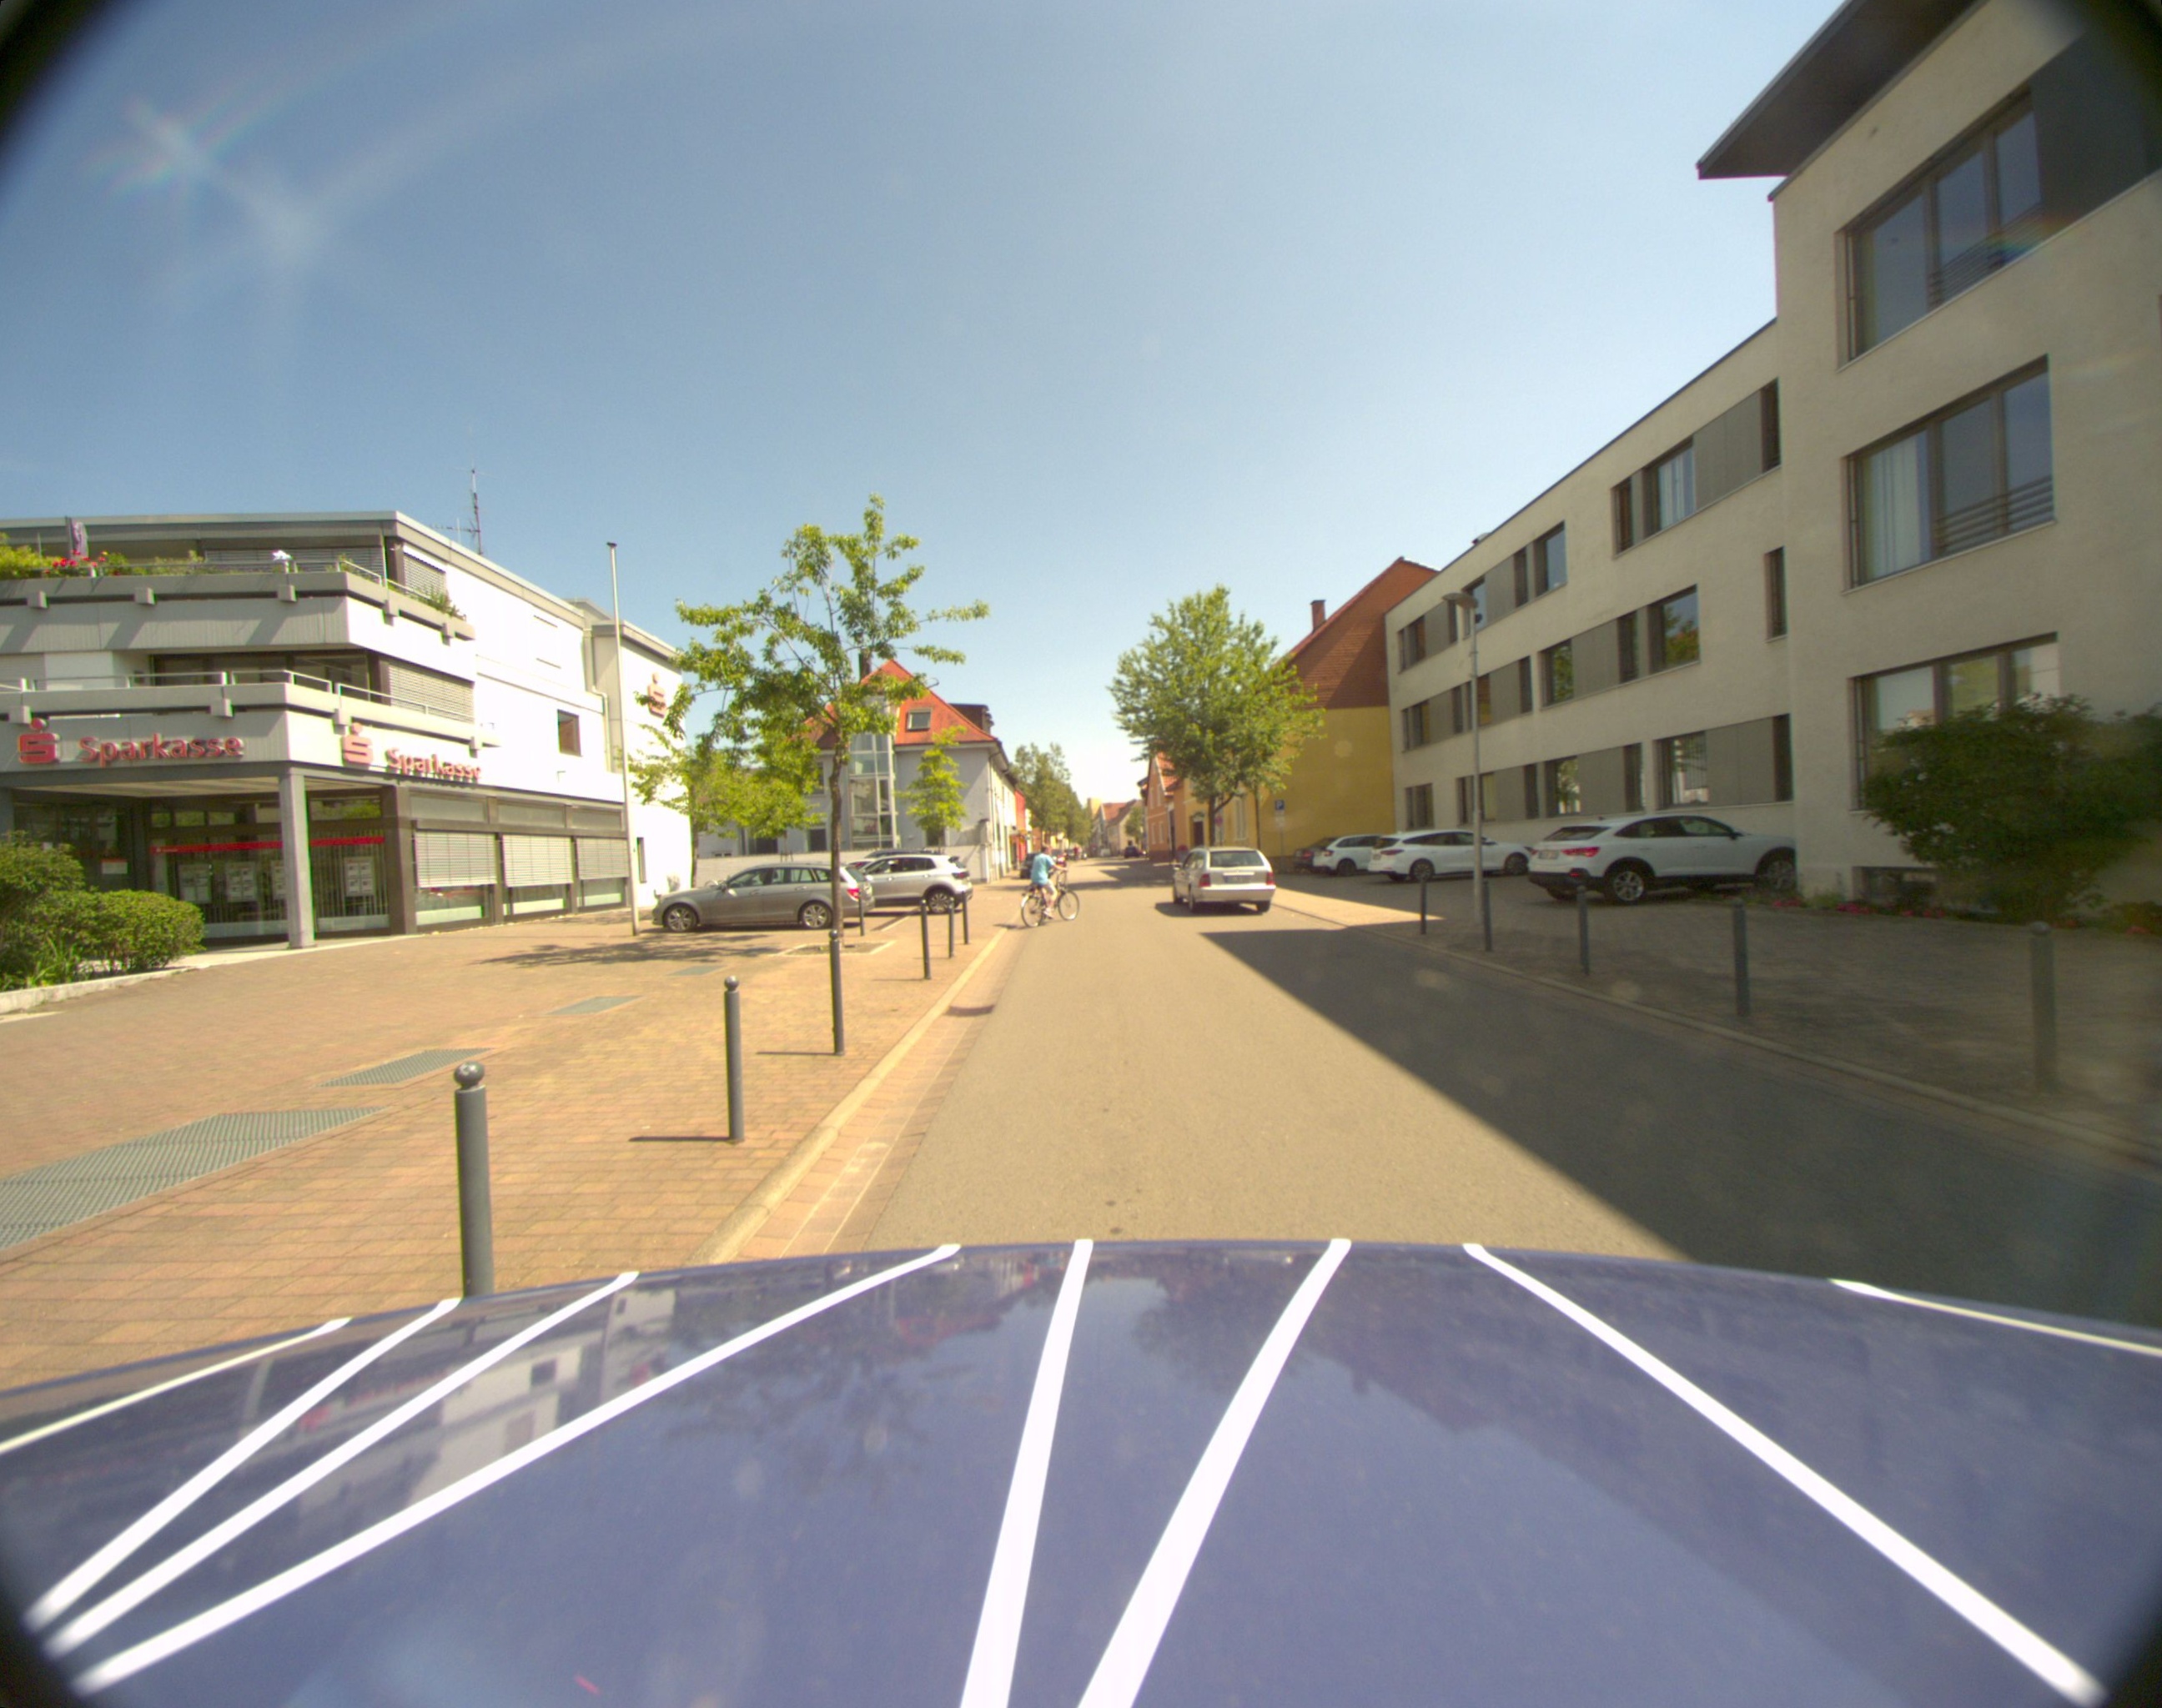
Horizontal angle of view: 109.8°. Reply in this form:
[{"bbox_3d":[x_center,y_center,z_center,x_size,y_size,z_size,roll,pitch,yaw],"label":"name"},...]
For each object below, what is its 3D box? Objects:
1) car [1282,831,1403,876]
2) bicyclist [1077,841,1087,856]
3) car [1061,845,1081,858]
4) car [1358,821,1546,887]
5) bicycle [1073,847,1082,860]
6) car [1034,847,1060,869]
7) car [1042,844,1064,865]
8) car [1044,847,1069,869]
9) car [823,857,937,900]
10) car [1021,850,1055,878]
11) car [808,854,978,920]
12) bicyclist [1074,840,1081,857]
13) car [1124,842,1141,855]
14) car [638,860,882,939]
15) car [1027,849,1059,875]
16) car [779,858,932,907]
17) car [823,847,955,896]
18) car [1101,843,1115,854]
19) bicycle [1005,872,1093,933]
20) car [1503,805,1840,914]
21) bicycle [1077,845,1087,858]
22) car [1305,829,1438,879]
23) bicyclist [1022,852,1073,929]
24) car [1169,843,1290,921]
[{"bbox_3d":[10.267,-0.011,29.992,3.998,1.423,1.971,-4,0,-4],"label":"car"},{"bbox_3d":[0.087,-0.597,84.816,1.028,1.635,1.025,-2,1,3],"label":"bicyclist"},{"bbox_3d":[-1.286,-0.382,100.490,1.928,1.594,4.110,-3,1,7],"label":"car"},{"bbox_3d":[10.755,-0.018,22.275,4.515,1.545,1.934,-4,2,0],"label":"car"},{"bbox_3d":[-0.366,-0.039,78.777,0.635,1.227,1.895,-1,-1,6],"label":"bicycle"},{"bbox_3d":[-2.498,0.292,56.028,1.741,1.504,3.735,-2,0,-1],"label":"car"},{"bbox_3d":[-2.560,0.037,70.723,1.871,1.675,4.659,-5,2,-2],"label":"car"},{"bbox_3d":[-2.060,0.273,62.248,1.834,1.579,4.086,-4,1,-3],"label":"car"},{"bbox_3d":[-7.241,0.858,27.628,3.740,1.444,1.744,-1,1,-6],"label":"car"},{"bbox_3d":[-2.385,0.532,42.597,1.708,1.473,3.921,-1,1,-1],"label":"car"},{"bbox_3d":[-4.819,0.820,19.930,3.998,1.564,1.857,-1,0,-2],"label":"car"},{"bbox_3d":[-0.372,-0.528,78.873,0.645,1.766,0.722,-1,0,6],"label":"bicyclist"},{"bbox_3d":[6.813,-0.762,100.064,1.863,1.620,4.048,-3,1,7],"label":"car"},{"bbox_3d":[-6.920,0.944,16.854,4.589,1.504,1.915,-1,1,-6],"label":"car"},{"bbox_3d":[-2.372,0.486,48.261,1.721,1.473,4.095,-2,1,1],"label":"car"},{"bbox_3d":[-7.302,0.895,25.011,4.549,1.432,1.838,-1,1,-6],"label":"car"},{"bbox_3d":[-7.466,0.655,29.901,4.643,1.761,2.147,-1,0,-3],"label":"car"},{"bbox_3d":[5.828,-1.118,162.876,2.443,2.224,4.959,-3,1,-3],"label":"car"},{"bbox_3d":[-0.630,0.972,15.823,0.674,1.103,1.900,-1,1,41],"label":"bicycle"},{"bbox_3d":[10.639,0.081,13.977,4.518,1.545,2.147,-4,1,-2],"label":"car"},{"bbox_3d":[0.117,-0.303,84.738,0.959,1.363,2.406,-2,1,4],"label":"bicycle"},{"bbox_3d":[10.374,-0.006,27.324,3.997,1.443,1.807,-4,0,0],"label":"car"},{"bbox_3d":[-0.689,0.744,15.765,0.669,1.518,0.763,-1,1,41],"label":"bicyclist"},{"bbox_3d":[3.267,0.540,17.577,1.885,1.456,4.434,-1,2,0],"label":"car"}]
